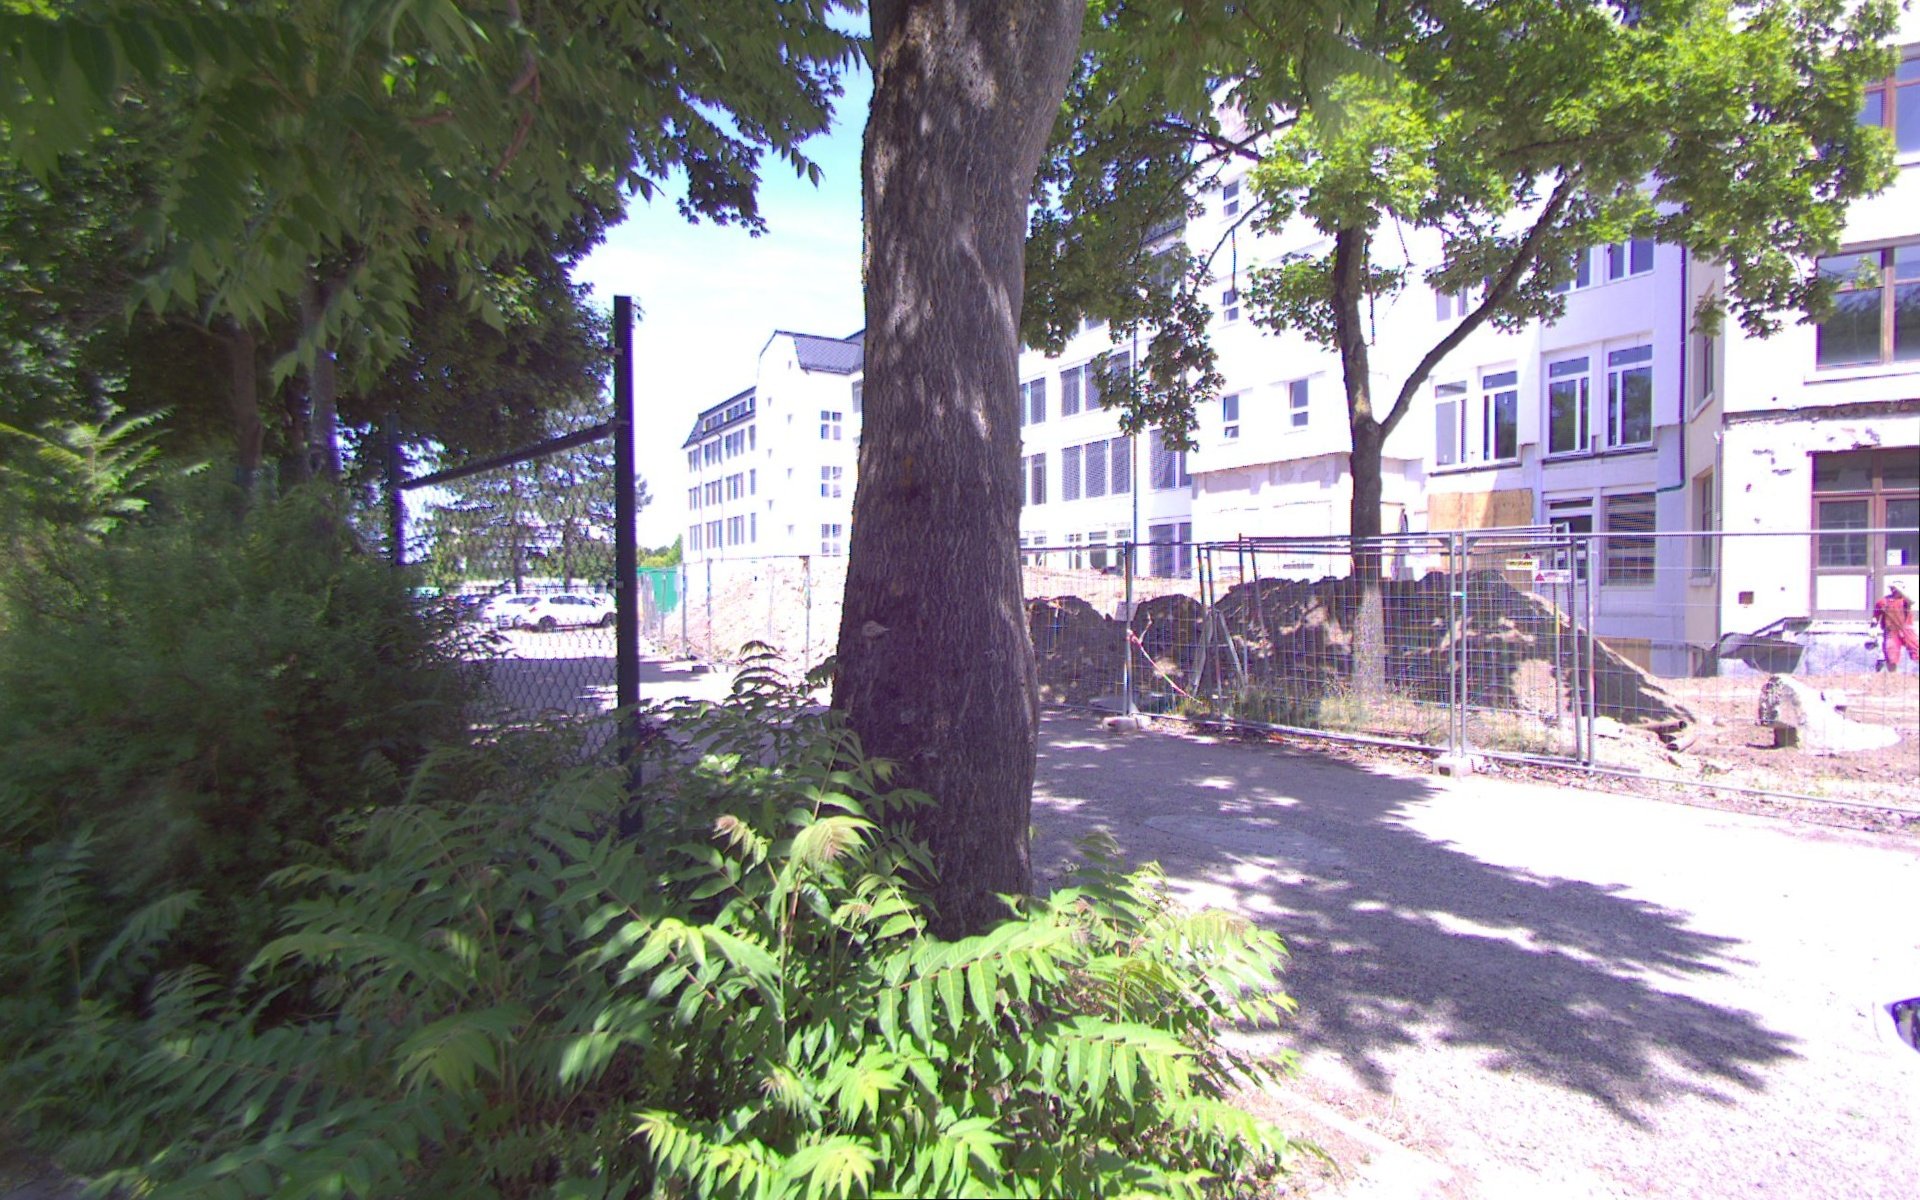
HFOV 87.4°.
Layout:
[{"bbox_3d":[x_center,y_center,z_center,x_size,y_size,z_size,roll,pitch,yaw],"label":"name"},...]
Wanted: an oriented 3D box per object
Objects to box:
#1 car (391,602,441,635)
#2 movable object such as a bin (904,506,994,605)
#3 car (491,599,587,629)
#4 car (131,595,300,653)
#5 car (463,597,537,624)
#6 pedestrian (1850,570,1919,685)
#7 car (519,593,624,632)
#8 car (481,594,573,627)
[{"bbox_3d":[-28.933,0.957,53.369,1.794,1.677,3.883,0,0,-37],"label":"car"},{"bbox_3d":[-0.619,-1.988,48.196,1.975,4.430,5.682,0,0,-28],"label":"movable object such as a bin"},{"bbox_3d":[-18.687,0.596,44.630,3.693,1.295,1.438,0,0,-39],"label":"car"},{"bbox_3d":[-19.652,0.604,26.612,3.523,1.440,1.565,0,0,-39],"label":"car"},{"bbox_3d":[-26.690,0.623,58.350,3.693,1.514,1.438,0,0,-39],"label":"car"},{"bbox_3d":[15.817,0.453,16.914,0.967,1.871,0.917,0,0,20],"label":"pedestrian"},{"bbox_3d":[-15.593,0.492,40.365,3.693,1.514,1.438,0,0,-39],"label":"car"},{"bbox_3d":[-20.159,0.484,46.797,3.693,1.514,1.438,0,0,-39],"label":"car"}]
